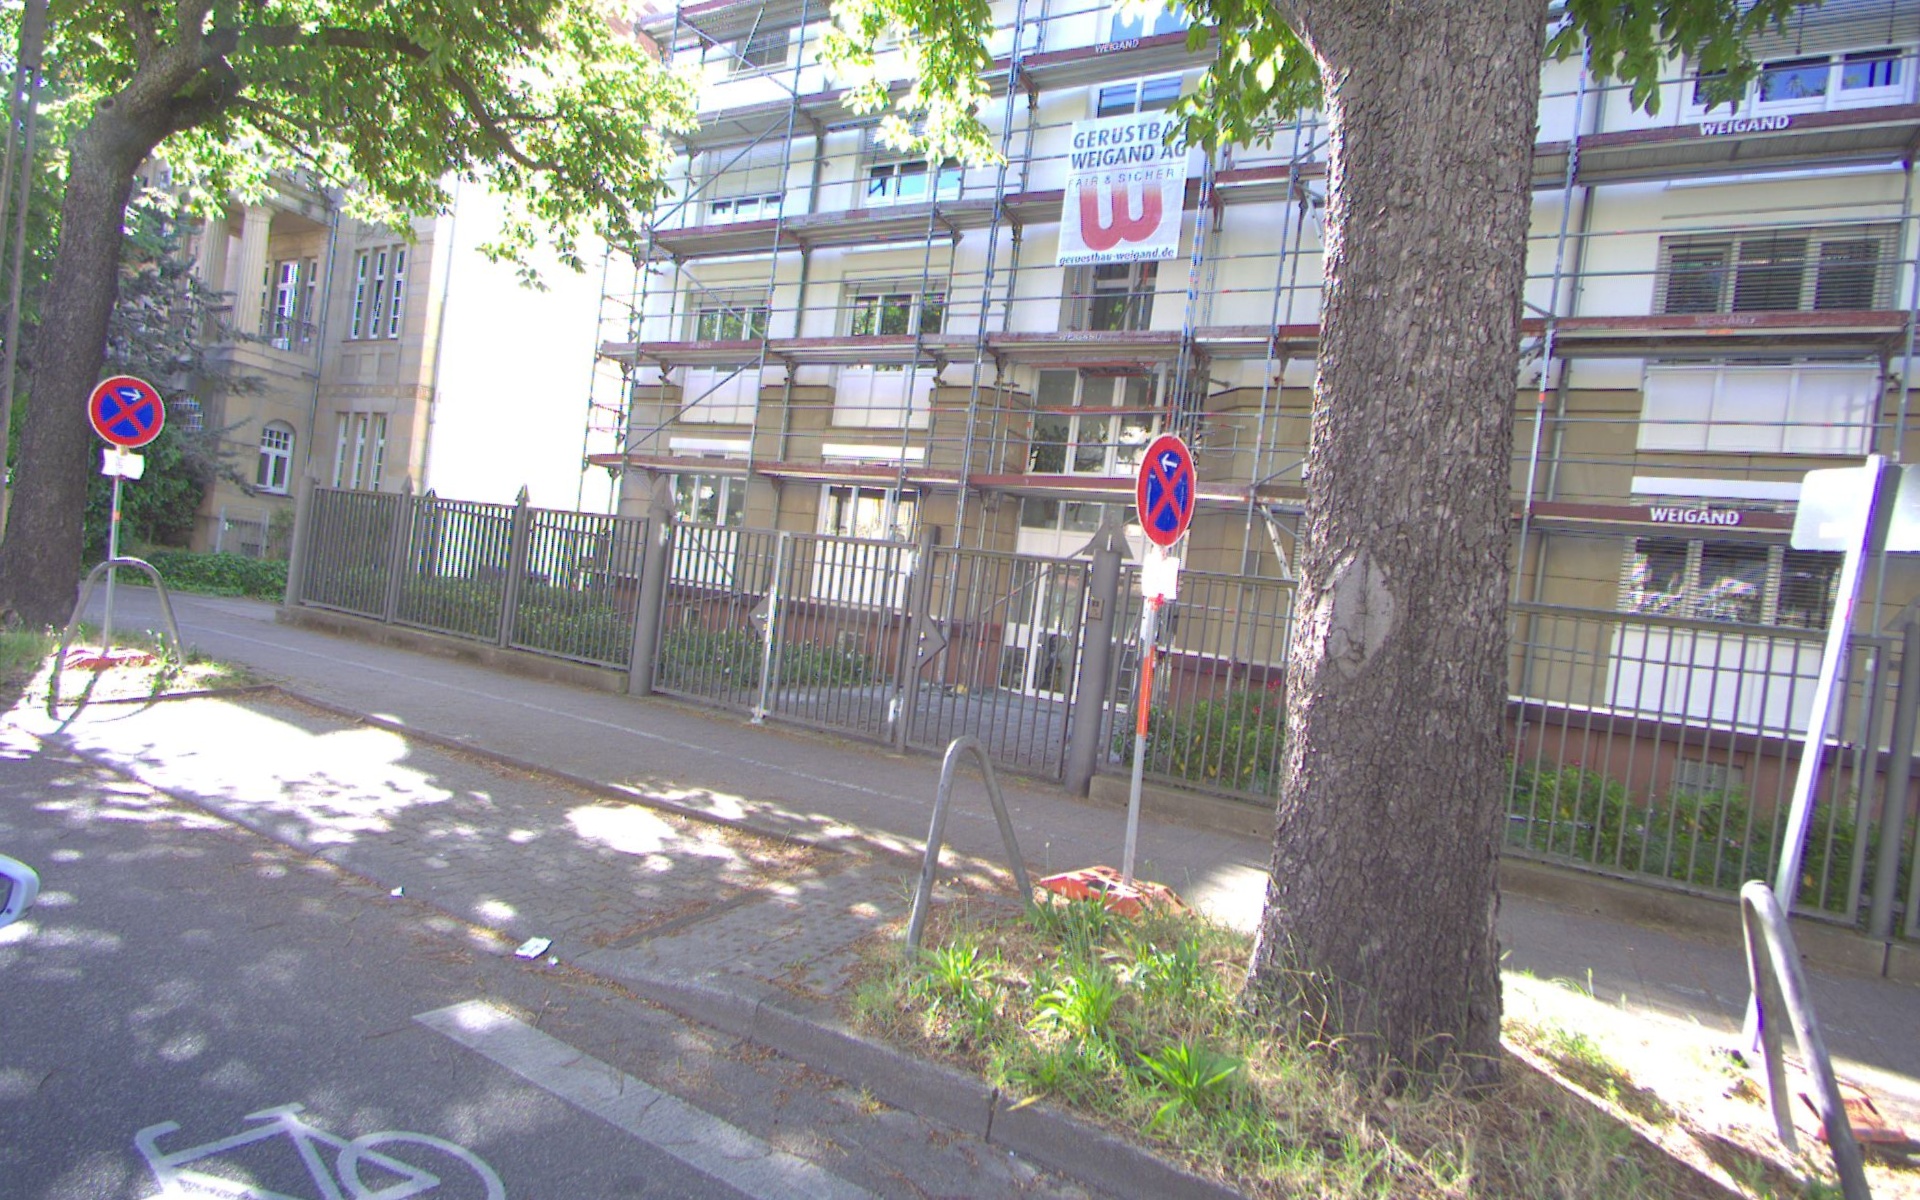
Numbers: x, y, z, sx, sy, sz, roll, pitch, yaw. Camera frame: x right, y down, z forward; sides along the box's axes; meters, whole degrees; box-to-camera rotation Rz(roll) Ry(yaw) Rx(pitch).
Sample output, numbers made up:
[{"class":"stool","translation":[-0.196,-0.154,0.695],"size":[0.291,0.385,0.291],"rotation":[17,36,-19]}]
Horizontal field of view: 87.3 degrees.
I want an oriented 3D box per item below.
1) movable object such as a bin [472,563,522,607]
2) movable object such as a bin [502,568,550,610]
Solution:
[{"class":"movable object such as a bin","translation":[-11.714,-0.371,25.443],"size":[0.637,0.966,0.835],"rotation":[6,-2,30]},{"class":"movable object such as a bin","translation":[-11.293,-0.285,26.201],"size":[0.637,0.966,0.835],"rotation":[6,-2,30]}]
